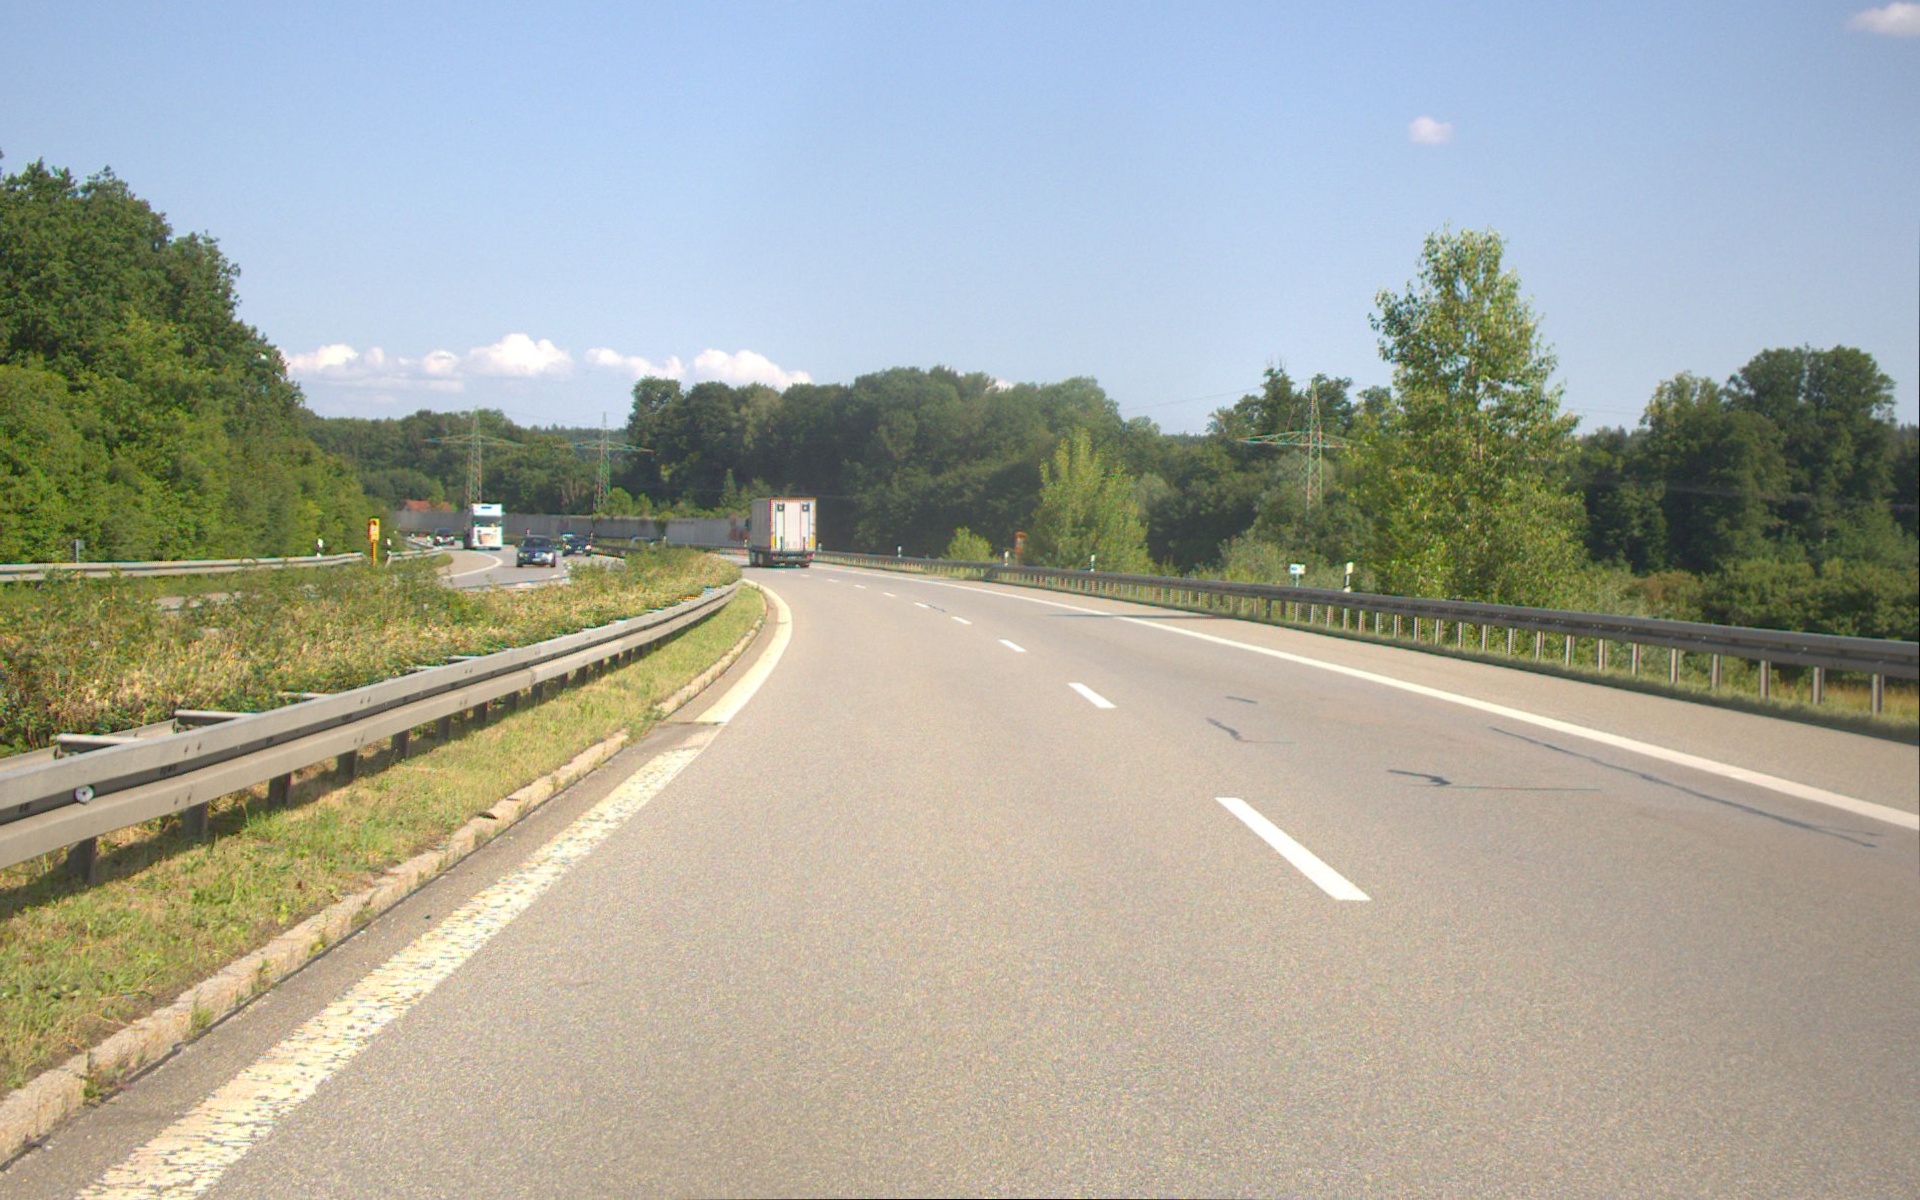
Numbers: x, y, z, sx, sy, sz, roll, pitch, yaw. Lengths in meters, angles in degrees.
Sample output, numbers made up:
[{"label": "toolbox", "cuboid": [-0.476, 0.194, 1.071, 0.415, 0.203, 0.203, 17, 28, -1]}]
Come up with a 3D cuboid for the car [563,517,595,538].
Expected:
[{"label": "car", "cuboid": [-25.710, -4.898, 231.835, 1.728, 1.423, 3.882, 0, 1, -13]}]

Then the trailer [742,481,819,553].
[{"label": "trailer", "cuboid": [-10.634, -4.918, 202.223, 2.883, 4.052, 12.424, 0, 2, -11]}]

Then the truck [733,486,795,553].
[{"label": "truck", "cuboid": [-11.934, -4.894, 208.848, 2.829, 3.998, 6.589, 0, 2, -11]}]

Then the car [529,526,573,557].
[{"label": "car", "cuboid": [-19.176, -2.758, 160.958, 1.993, 1.427, 4.488, 0, 2, -7]}]
